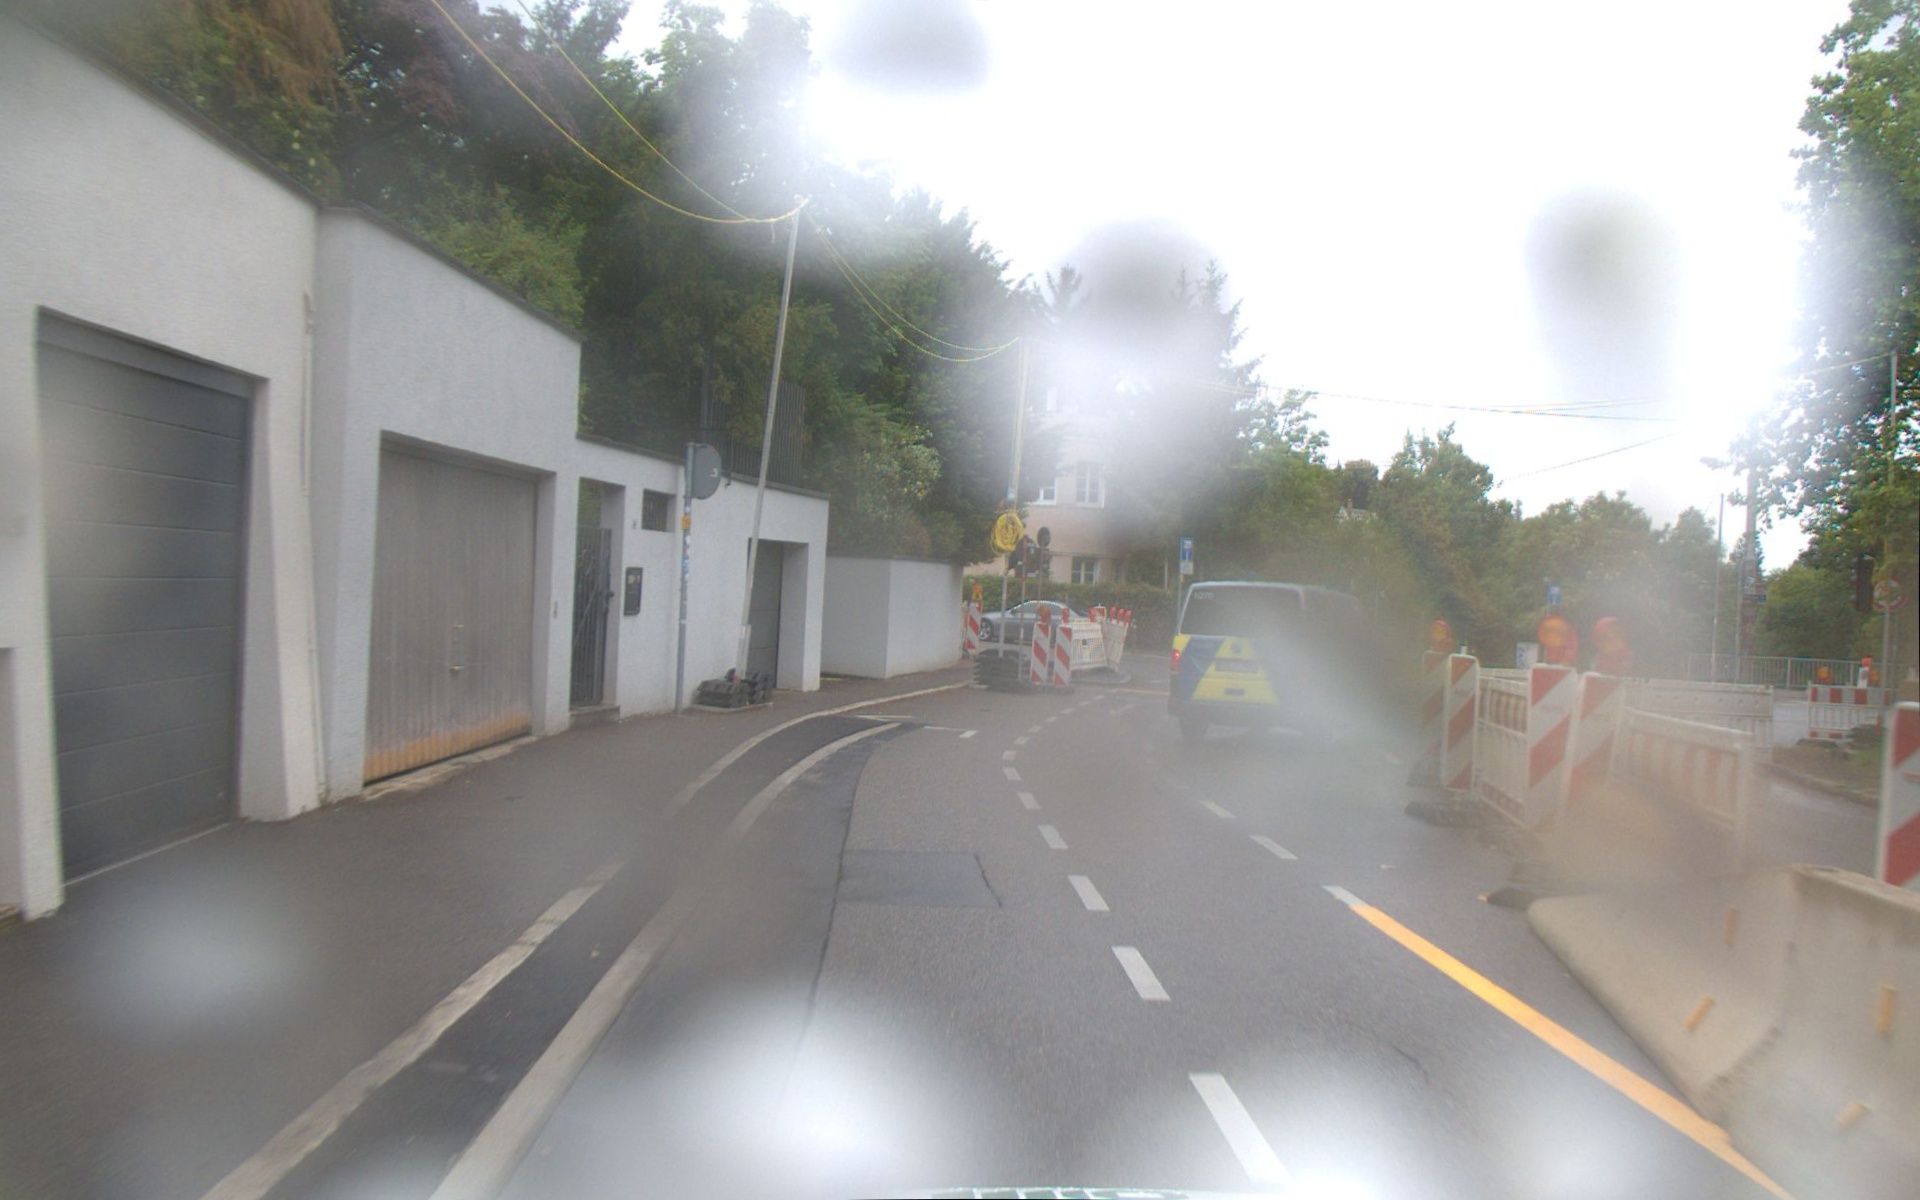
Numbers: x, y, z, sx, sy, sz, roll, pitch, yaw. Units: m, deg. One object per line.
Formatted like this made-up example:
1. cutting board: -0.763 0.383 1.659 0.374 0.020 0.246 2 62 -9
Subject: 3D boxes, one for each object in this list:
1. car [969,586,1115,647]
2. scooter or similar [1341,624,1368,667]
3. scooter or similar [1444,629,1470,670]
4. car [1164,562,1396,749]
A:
1. car: 2.431 0.487 49.249 3.912 1.544 1.725 3 -1 29
2. scooter or similar: 11.512 1.315 48.306 0.455 1.207 1.025 3 -1 -1
3. scooter or similar: 14.375 1.432 47.847 0.455 1.164 0.834 3 -1 1
4. car: 4.223 0.713 21.230 1.870 2.045 4.436 3 -1 24
